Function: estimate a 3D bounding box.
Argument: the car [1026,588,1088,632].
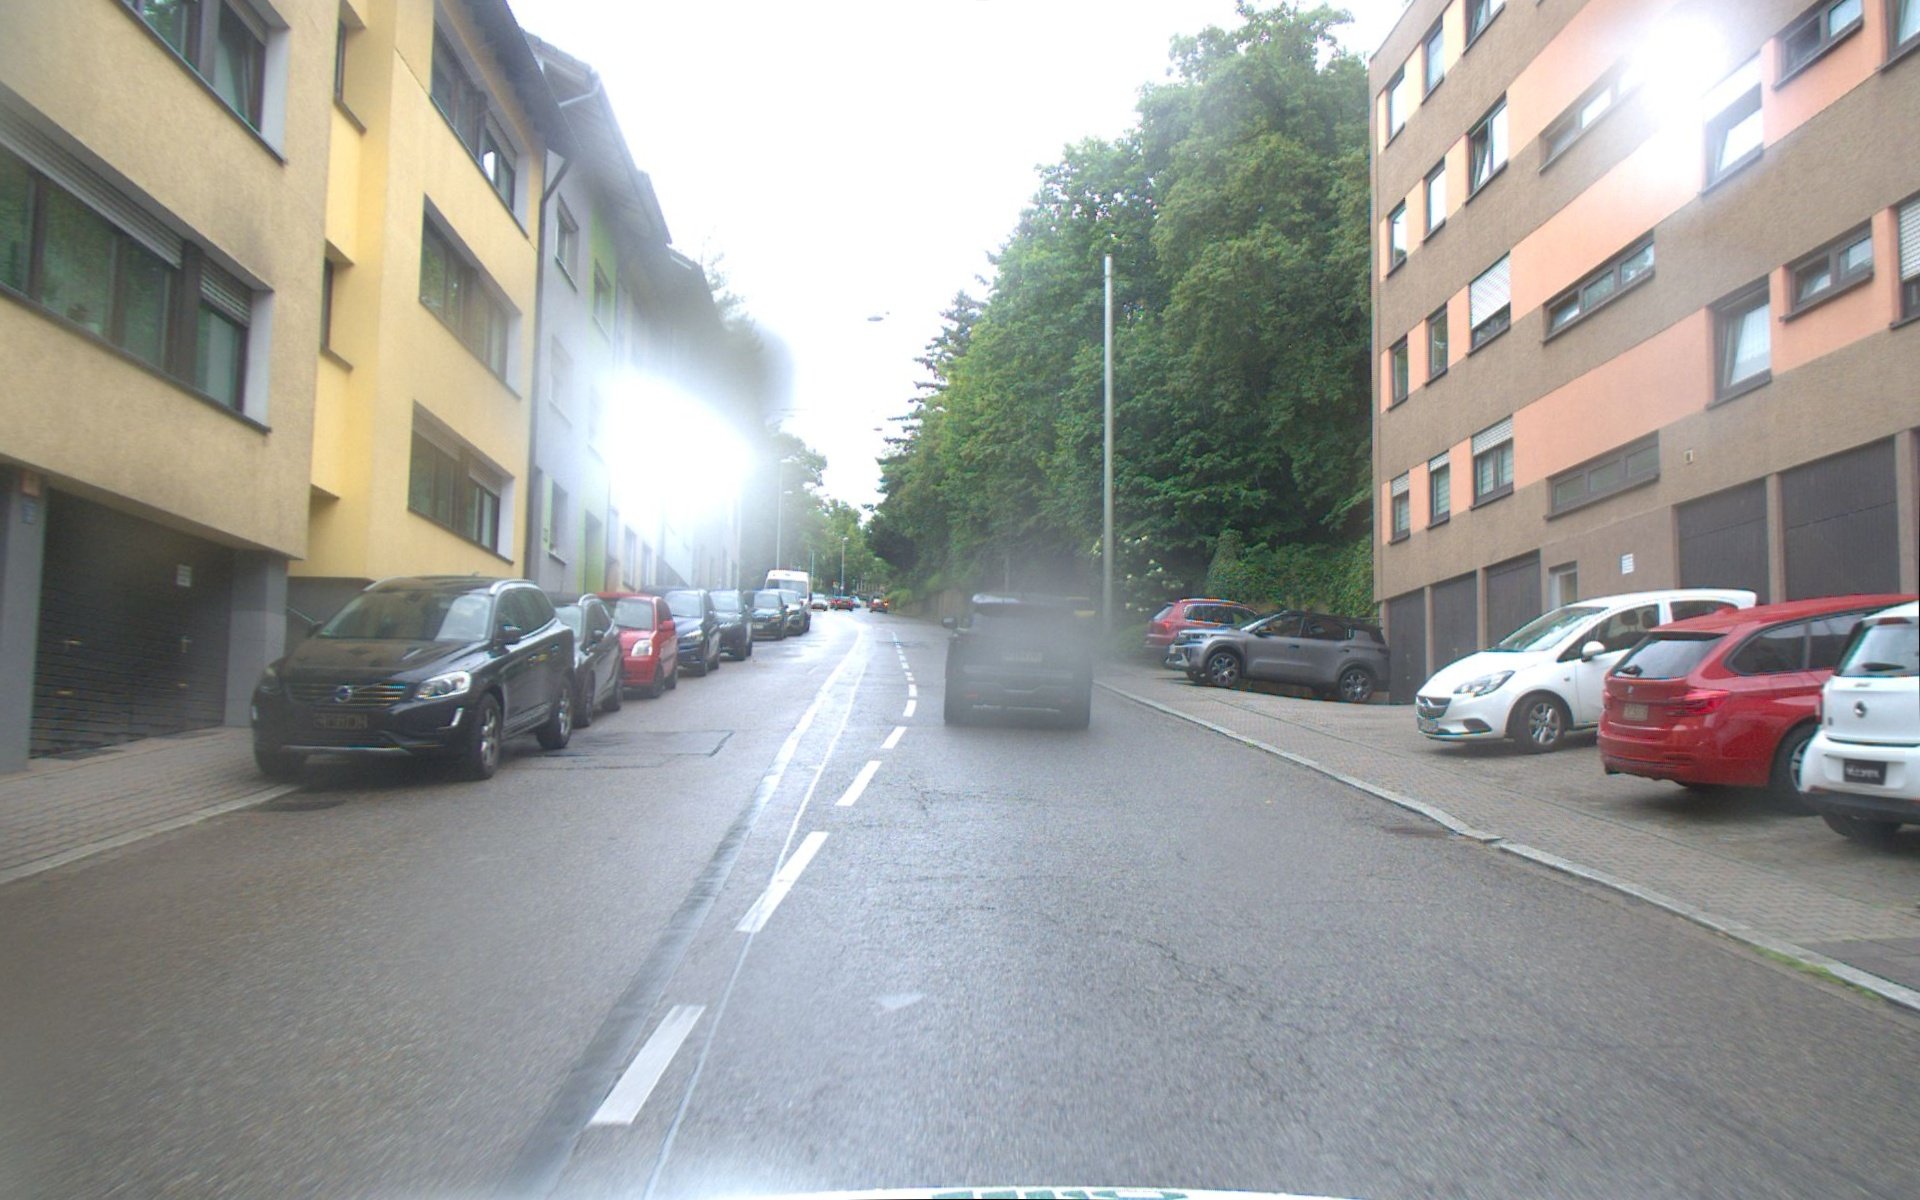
[{"bbox_3d":[3.607,0.356,62.222,1.775,1.557,4.414,-1,0,-3],"label":"car"}]

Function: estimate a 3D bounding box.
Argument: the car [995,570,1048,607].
[{"bbox_3d":[2.667,-0.494,72.768,1.776,1.557,4.412,-1,0,-5],"label":"car"}]

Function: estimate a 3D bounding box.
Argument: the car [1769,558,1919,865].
[{"bbox_3d":[7.366,0.505,10.275,3.753,1.731,1.727,-5,1,-5],"label":"car"}]

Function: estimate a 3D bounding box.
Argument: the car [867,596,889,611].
[{"bbox_3d":[-8.785,0.370,176.595,2.035,1.587,3.995,1,0,-6],"label":"car"}]

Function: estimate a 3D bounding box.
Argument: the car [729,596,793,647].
[{"bbox_3d":[-6.807,0.706,56.850,1.951,1.613,4.301,0,0,-4],"label":"car"}]

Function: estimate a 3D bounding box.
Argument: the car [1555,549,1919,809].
[{"bbox_3d":[7.146,0.469,12.845,4.258,1.556,1.875,-6,1,-4],"label":"car"}]

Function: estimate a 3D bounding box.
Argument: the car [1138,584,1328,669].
[{"bbox_3d":[6.515,0.616,39.714,4.118,1.765,1.757,3,0,-7],"label":"car"}]

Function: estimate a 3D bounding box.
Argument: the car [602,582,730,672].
[{"bbox_3d":[-5.585,0.463,31.923,1.954,1.613,4.468,0,0,-4],"label":"car"}]

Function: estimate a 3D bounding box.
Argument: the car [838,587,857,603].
[{"bbox_3d":[-12.000,-0.516,176.354,2.034,1.587,3.996,1,0,-4],"label":"car"}]

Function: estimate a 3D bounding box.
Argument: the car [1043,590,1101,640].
[{"bbox_3d":[3.710,0.478,55.249,1.600,1.556,3.999,2,0,-1],"label":"car"}]

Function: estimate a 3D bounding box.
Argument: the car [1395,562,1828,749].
[{"bbox_3d":[6.853,0.548,17.593,3.887,1.556,1.690,-5,0,-7],"label":"car"}]

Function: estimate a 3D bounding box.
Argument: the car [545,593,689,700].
[{"bbox_3d":[-5.192,0.657,25.388,1.694,1.498,3.488,0,0,-4],"label":"car"}]

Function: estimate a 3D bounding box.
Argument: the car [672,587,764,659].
[{"bbox_3d":[-5.681,0.500,39.210,1.817,1.613,4.301,0,0,-4],"label":"car"}]

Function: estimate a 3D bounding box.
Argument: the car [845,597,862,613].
[{"bbox_3d":[-14.562,0.702,226.495,1.953,2.049,3.999,2,-2,0],"label":"car"}]

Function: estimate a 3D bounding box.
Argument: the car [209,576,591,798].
[{"bbox_3d":[-4.774,0.647,14.852,1.953,1.679,4.441,0,0,-1],"label":"car"}]

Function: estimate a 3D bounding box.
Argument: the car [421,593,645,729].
[{"bbox_3d":[-5.213,0.678,20.777,1.954,1.498,4.345,0,0,-4],"label":"car"}]

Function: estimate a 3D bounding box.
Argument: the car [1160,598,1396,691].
[{"bbox_3d":[6.122,0.845,32.115,4.117,1.522,1.758,3,0,-5],"label":"car"}]

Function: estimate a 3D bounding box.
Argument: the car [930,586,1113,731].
[{"bbox_3d":[0.680,0.666,21.165,1.954,1.586,3.998,2,1,-3],"label":"car"}]

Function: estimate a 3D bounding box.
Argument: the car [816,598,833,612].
[{"bbox_3d":[-16.218,0.588,198.196,2.034,1.587,3.997,1,0,-4],"label":"car"}]

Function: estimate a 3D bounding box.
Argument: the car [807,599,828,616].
[{"bbox_3d":[-14.087,0.746,163.643,1.955,1.586,3.996,2,1,-5],"label":"car"}]

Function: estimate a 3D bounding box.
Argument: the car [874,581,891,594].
[{"bbox_3d":[-10.044,-1.610,214.671,1.953,1.587,3.999,0,-2,-1],"label":"car"}]

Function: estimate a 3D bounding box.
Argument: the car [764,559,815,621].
[{"bbox_3d":[-7.171,-0.435,70.023,1.951,2.518,5.779,0,0,-4],"label":"car"}]

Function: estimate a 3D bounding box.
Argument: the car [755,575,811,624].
[{"bbox_3d":[-6.742,-0.028,63.298,1.951,1.786,4.476,0,0,-4],"label":"car"}]
